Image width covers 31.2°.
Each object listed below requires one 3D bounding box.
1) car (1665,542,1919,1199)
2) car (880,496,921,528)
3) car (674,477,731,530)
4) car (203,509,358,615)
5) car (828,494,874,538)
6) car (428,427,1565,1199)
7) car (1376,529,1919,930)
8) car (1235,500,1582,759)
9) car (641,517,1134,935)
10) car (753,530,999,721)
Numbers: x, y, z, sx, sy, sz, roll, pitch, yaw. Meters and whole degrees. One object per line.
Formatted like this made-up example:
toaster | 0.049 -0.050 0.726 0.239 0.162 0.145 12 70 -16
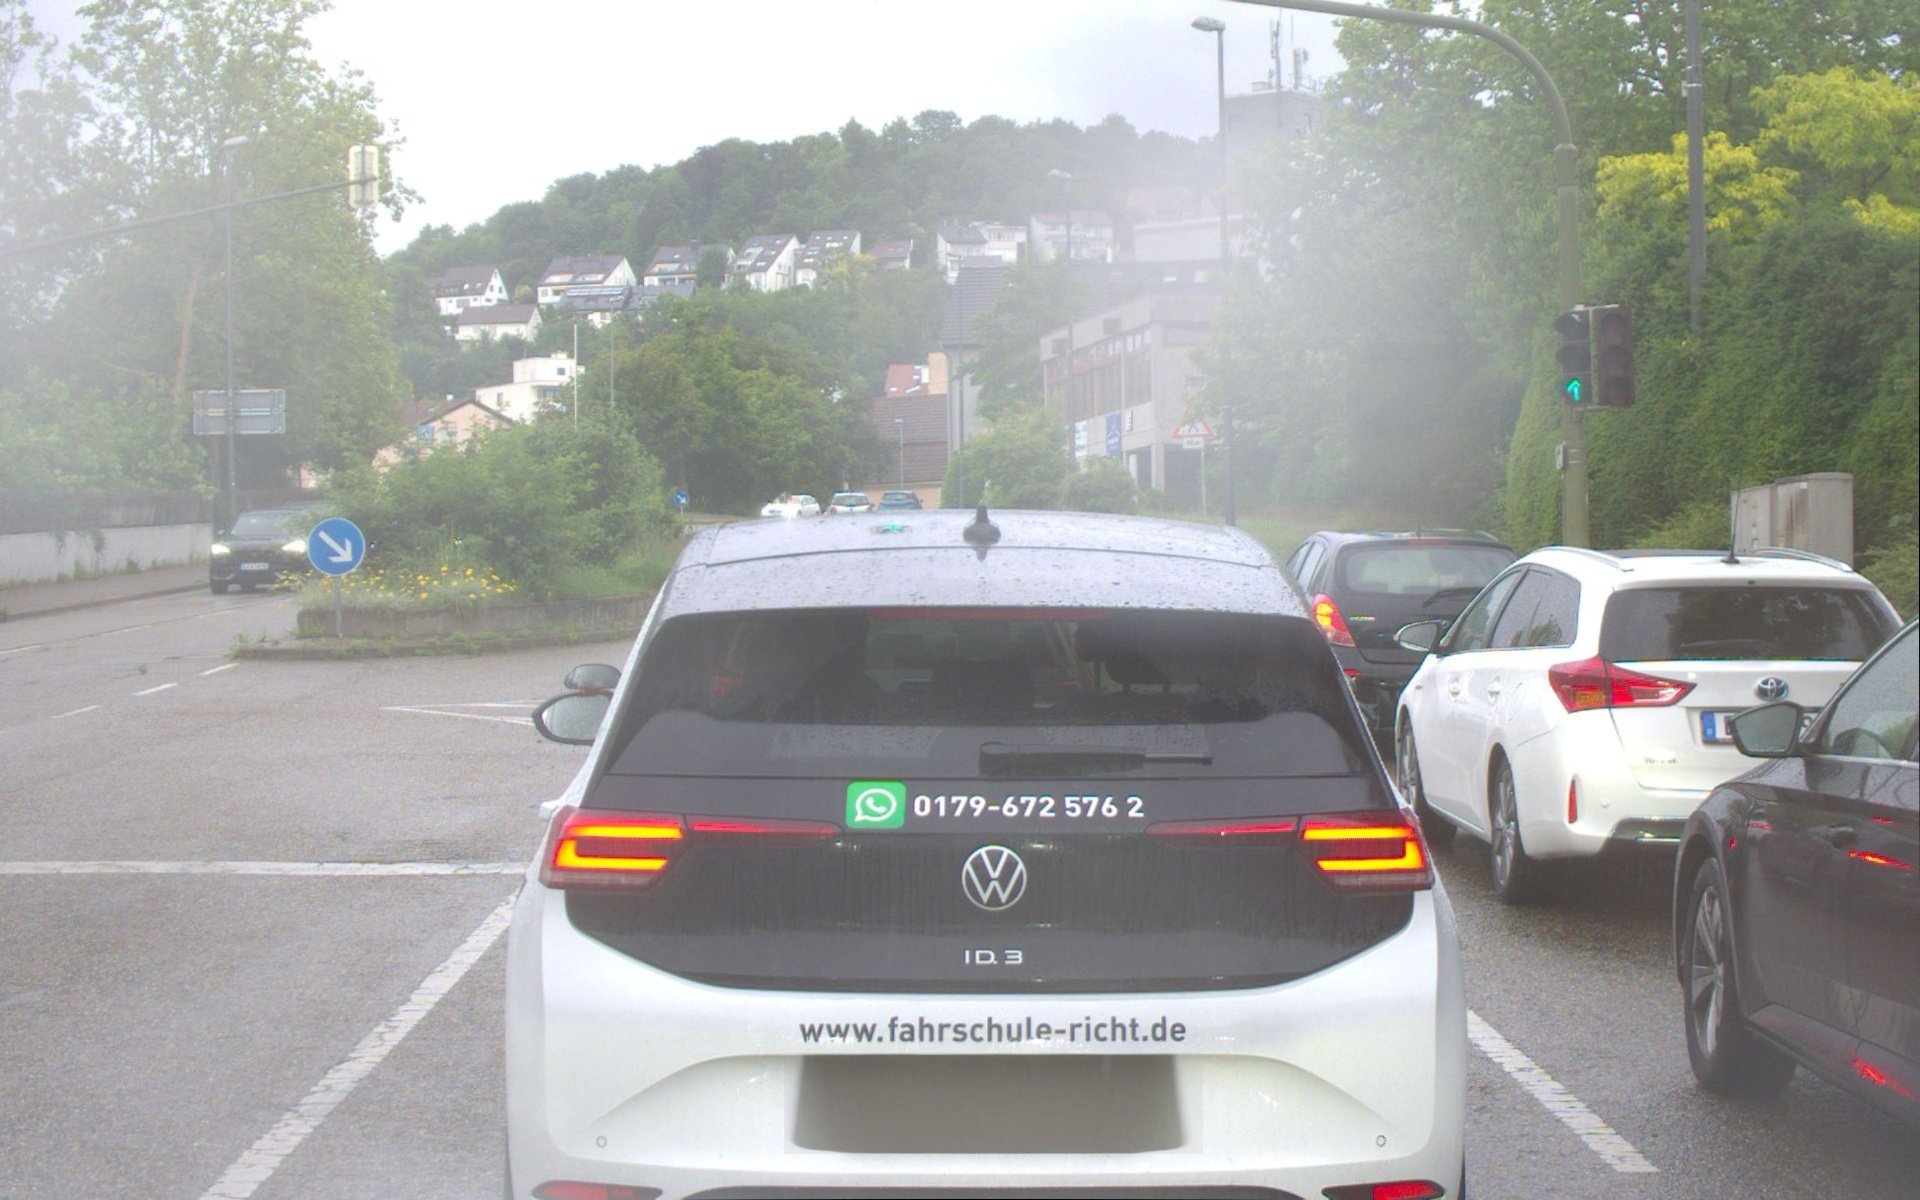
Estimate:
car | 2.883 0.641 7.463 1.838 1.461 4.350 1 1 1
car | -2.754 -4.052 158.492 1.761 1.413 3.749 -1 2 -3
car | -10.483 -3.913 140.188 1.993 2.007 4.000 1 0 0
car | -12.417 -0.711 63.058 1.993 1.798 4.000 -3 1 0
car | -3.881 -2.968 122.432 1.581 1.462 4.000 -1 1 -1
car | 0.008 0.493 7.947 1.837 1.623 4.616 1 1 -1
car | 3.038 0.451 14.994 1.837 1.461 4.117 1 1 -1
car | 2.943 0.157 23.349 1.775 1.576 4.000 1 1 0
car | -0.319 0.428 15.143 1.837 1.549 4.175 1 1 -1
car | -0.680 0.153 27.988 1.837 1.395 3.831 1 1 -1
